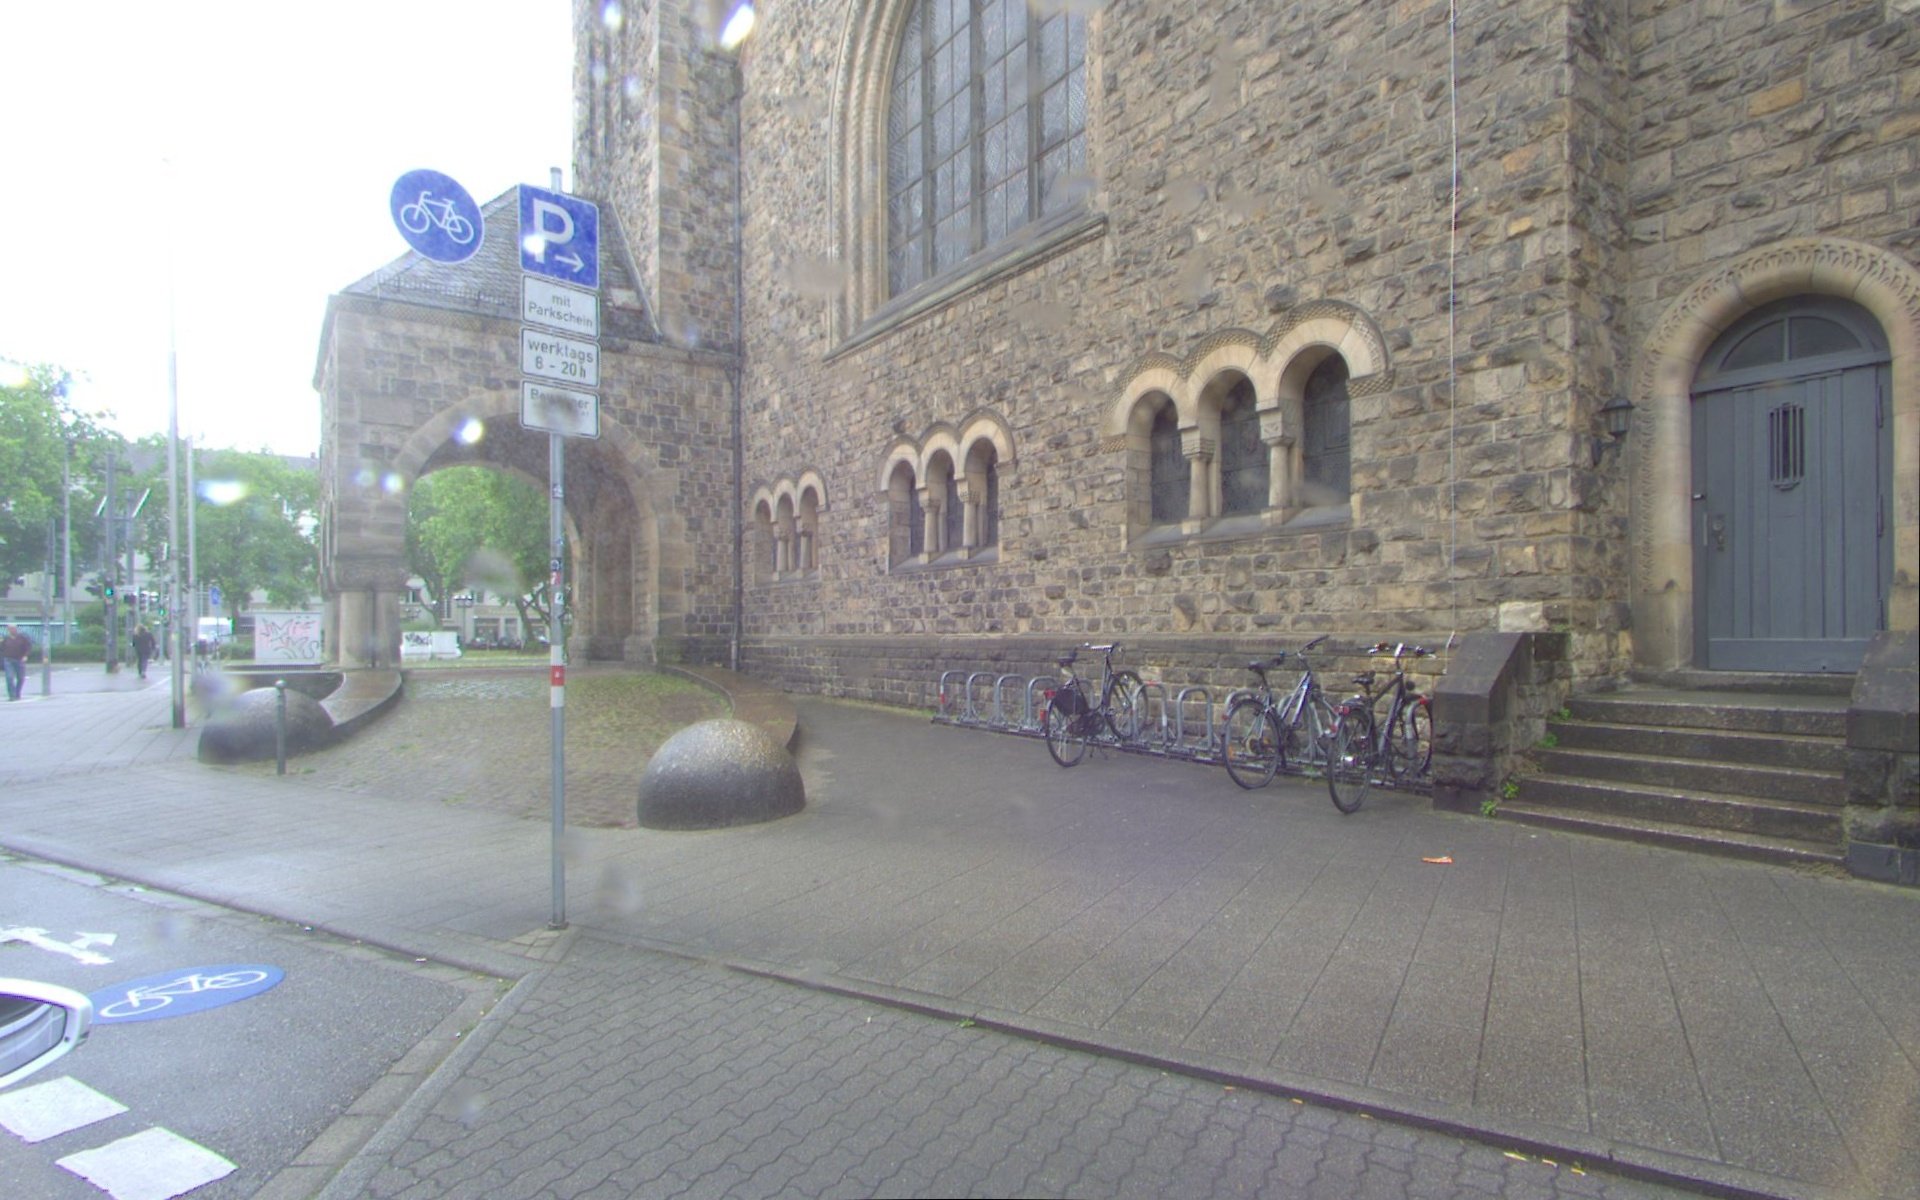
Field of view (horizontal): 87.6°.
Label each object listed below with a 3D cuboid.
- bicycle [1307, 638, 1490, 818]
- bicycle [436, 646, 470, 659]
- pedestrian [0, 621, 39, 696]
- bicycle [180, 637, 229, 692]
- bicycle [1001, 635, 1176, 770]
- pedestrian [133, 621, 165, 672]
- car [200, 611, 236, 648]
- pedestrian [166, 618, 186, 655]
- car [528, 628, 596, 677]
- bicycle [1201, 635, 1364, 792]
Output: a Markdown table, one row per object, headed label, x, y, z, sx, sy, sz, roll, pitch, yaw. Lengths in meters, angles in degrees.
| label | x | y | z | sx | sy | sz | roll | pitch | yaw |
| --- | --- | --- | --- | --- | --- | --- | --- | --- | --- |
| bicycle | 3.236 | 0.851 | 7.278 | 1.971 | 1.068 | 0.507 | -2 | 0 | -45 |
| bicycle | -29.868 | 3.092 | 58.996 | 1.683 | 0.728 | 0.648 | 1 | -1 | -38 |
| pedestrian | -23.129 | 1.413 | 24.564 | 0.780 | 1.782 | 0.936 | 0 | 0 | -43 |
| bicycle | -16.602 | 1.397 | 21.995 | 2.049 | 1.169 | 0.327 | -1 | -1 | 38 |
| bicycle | 1.311 | 0.951 | 9.898 | 0.684 | 1.119 | 1.973 | -1 | 0 | 43 |
| pedestrian | -27.318 | 1.552 | 33.733 | 0.775 | 1.667 | 0.651 | 0 | 0 | -34 |
| car | -53.679 | 2.136 | 72.515 | 1.888 | 2.588 | 4.757 | 0 | -1 | -34 |
| pedestrian | -43.220 | 2.023 | 55.210 | 0.797 | 2.040 | 0.586 | 0 | -1 | -31 |
| car | -12.703 | 1.629 | 31.872 | 1.389 | 1.498 | 3.200 | 1 | -2 | -34 |
| bicycle | 2.745 | 0.891 | 8.420 | 1.697 | 1.126 | 0.556 | -2 | 0 | -45 |
